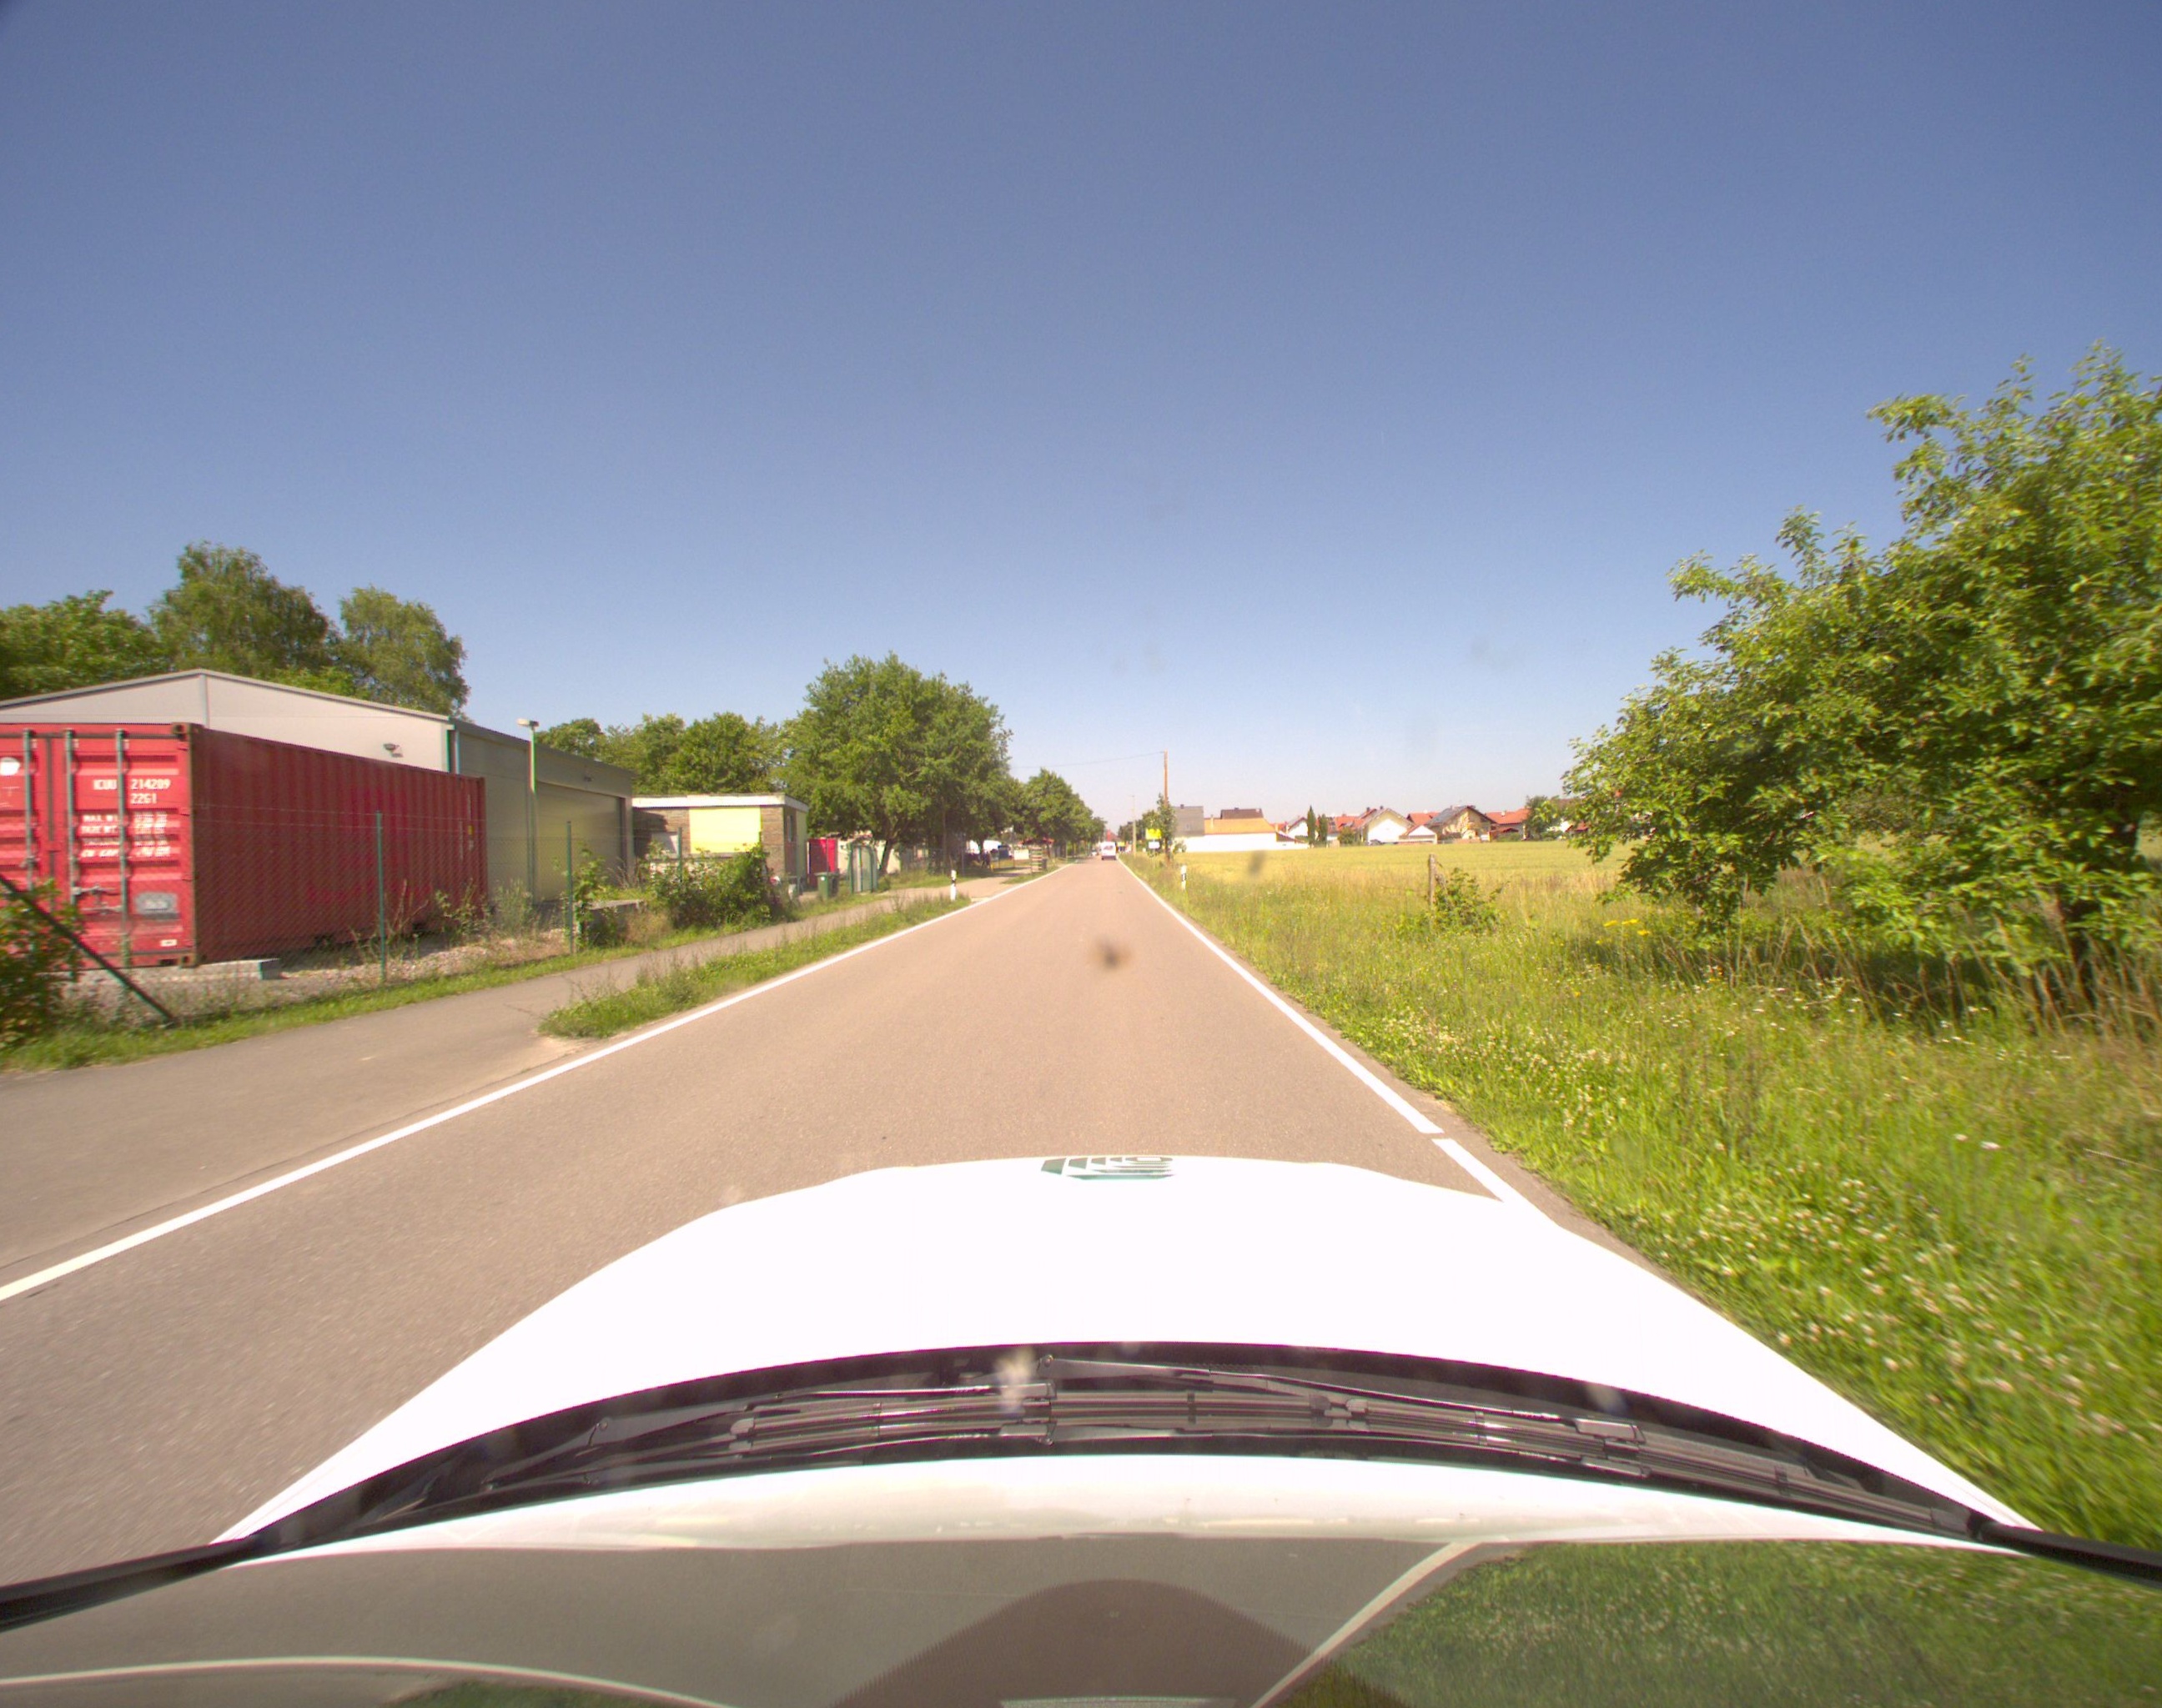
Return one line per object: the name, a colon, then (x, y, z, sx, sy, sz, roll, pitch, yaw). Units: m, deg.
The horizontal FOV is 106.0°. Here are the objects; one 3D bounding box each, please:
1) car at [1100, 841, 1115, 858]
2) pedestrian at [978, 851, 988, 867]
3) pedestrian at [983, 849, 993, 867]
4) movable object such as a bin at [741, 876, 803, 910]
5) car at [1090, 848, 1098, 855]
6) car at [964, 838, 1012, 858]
car: (3.719, -0.571, 113.796, 1.986, 2.266, 4.728, -2, 0, 2)
pedestrian: (-9.631, 0.514, 80.359, 0.671, 1.566, 0.722, -2, 0, 17)
pedestrian: (-9.246, 0.381, 81.113, 0.714, 1.803, 0.713, -2, 0, 16)
movable object such as a bin: (-8.565, 1.065, 22.671, 1.095, 0.831, 1.855, -2, 0, -5)
car: (2.978, -0.539, 185.551, 1.764, 1.590, 4.002, -2, 0, 2)
car: (-11.490, -0.762, 100.623, 5.639, 2.266, 1.977, -2, 0, -37)
